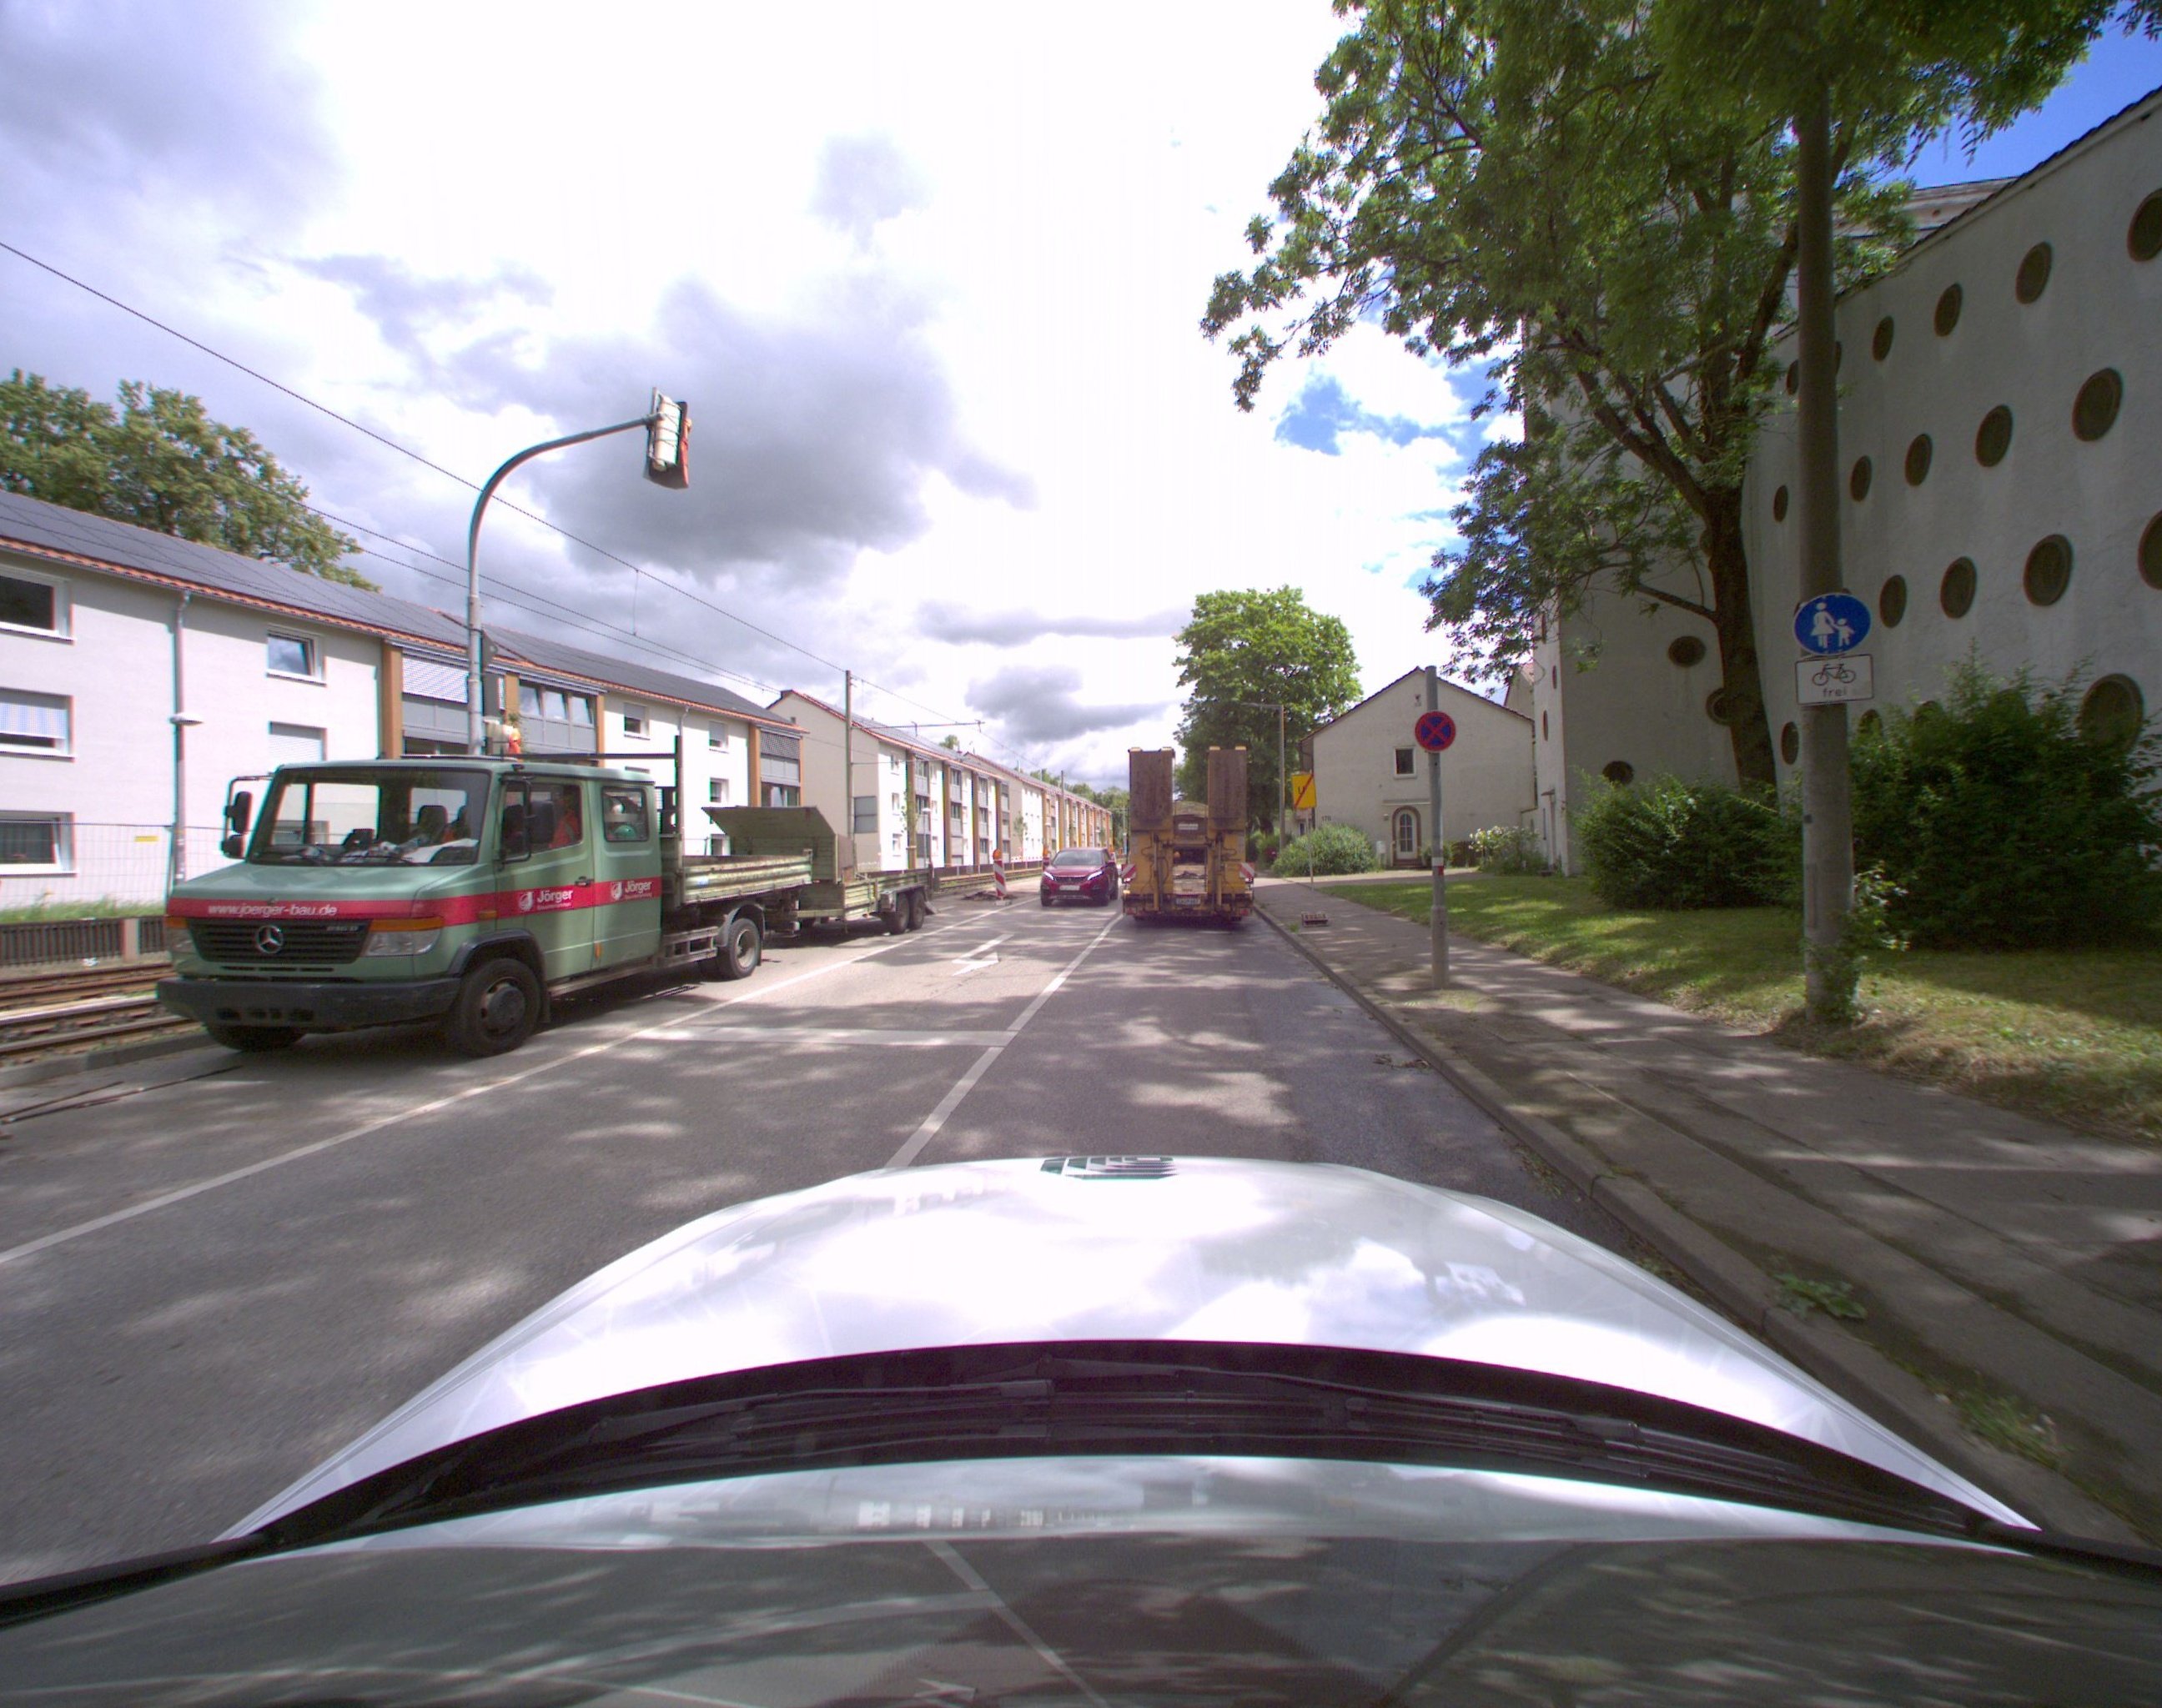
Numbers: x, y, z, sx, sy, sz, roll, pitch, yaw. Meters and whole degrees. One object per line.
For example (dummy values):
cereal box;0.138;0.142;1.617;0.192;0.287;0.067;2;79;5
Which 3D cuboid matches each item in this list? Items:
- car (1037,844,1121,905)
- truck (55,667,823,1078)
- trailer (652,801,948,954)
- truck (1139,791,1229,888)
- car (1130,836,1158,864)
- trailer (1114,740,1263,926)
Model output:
car;0.033;0.531;23.561;1.832;1.618;4.252;0;0;8
truck;-5.438;0.115;8.711;2.648;2.725;6.408;0;0;7
trailer;-4.649;0.330;15.018;2.648;2.214;6.260;0;0;7
truck;3.763;-0.501;30.389;2.902;3.167;7.693;0;0;6
car;5.748;-0.400;73.982;1.982;2.430;6.338;0;0;9
trailer;2.659;-0.437;21.069;2.808;3.524;11.072;0;0;6
